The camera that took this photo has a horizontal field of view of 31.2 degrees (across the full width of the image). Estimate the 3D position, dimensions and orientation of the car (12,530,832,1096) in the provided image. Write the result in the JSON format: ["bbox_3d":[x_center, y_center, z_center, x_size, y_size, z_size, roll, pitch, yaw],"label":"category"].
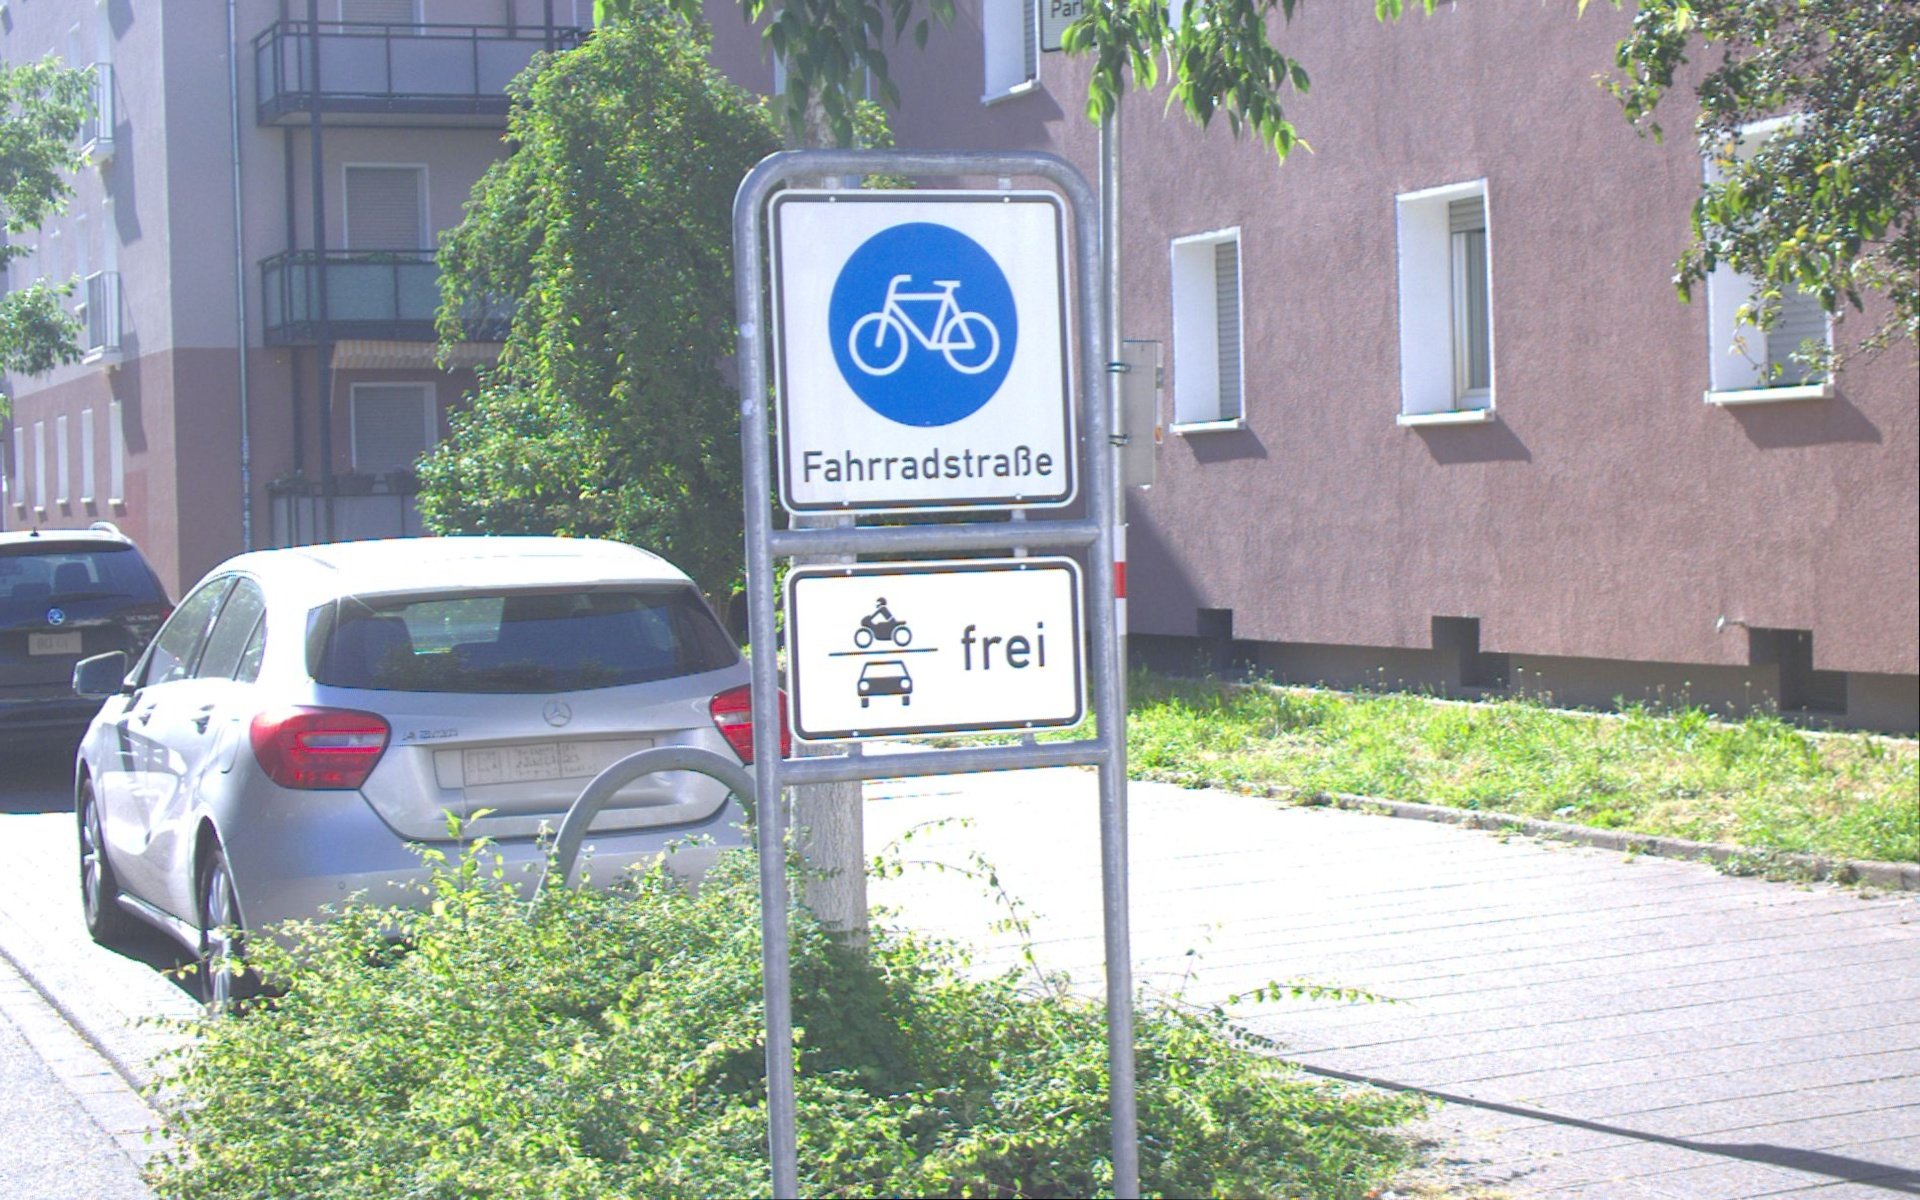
[{"bbox_3d":[-1.960,0.519,11.312,1.740,1.449,4.156,-2,2,-22],"label":"car"}]

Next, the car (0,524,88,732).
[{"bbox_3d":[-7.986,0.188,26.976,1.740,1.514,3.859,-2,2,-21],"label":"car"}]

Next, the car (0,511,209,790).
[{"bbox_3d":[-5.849,0.247,21.053,1.782,1.514,4.310,-2,2,-21],"label":"car"}]
